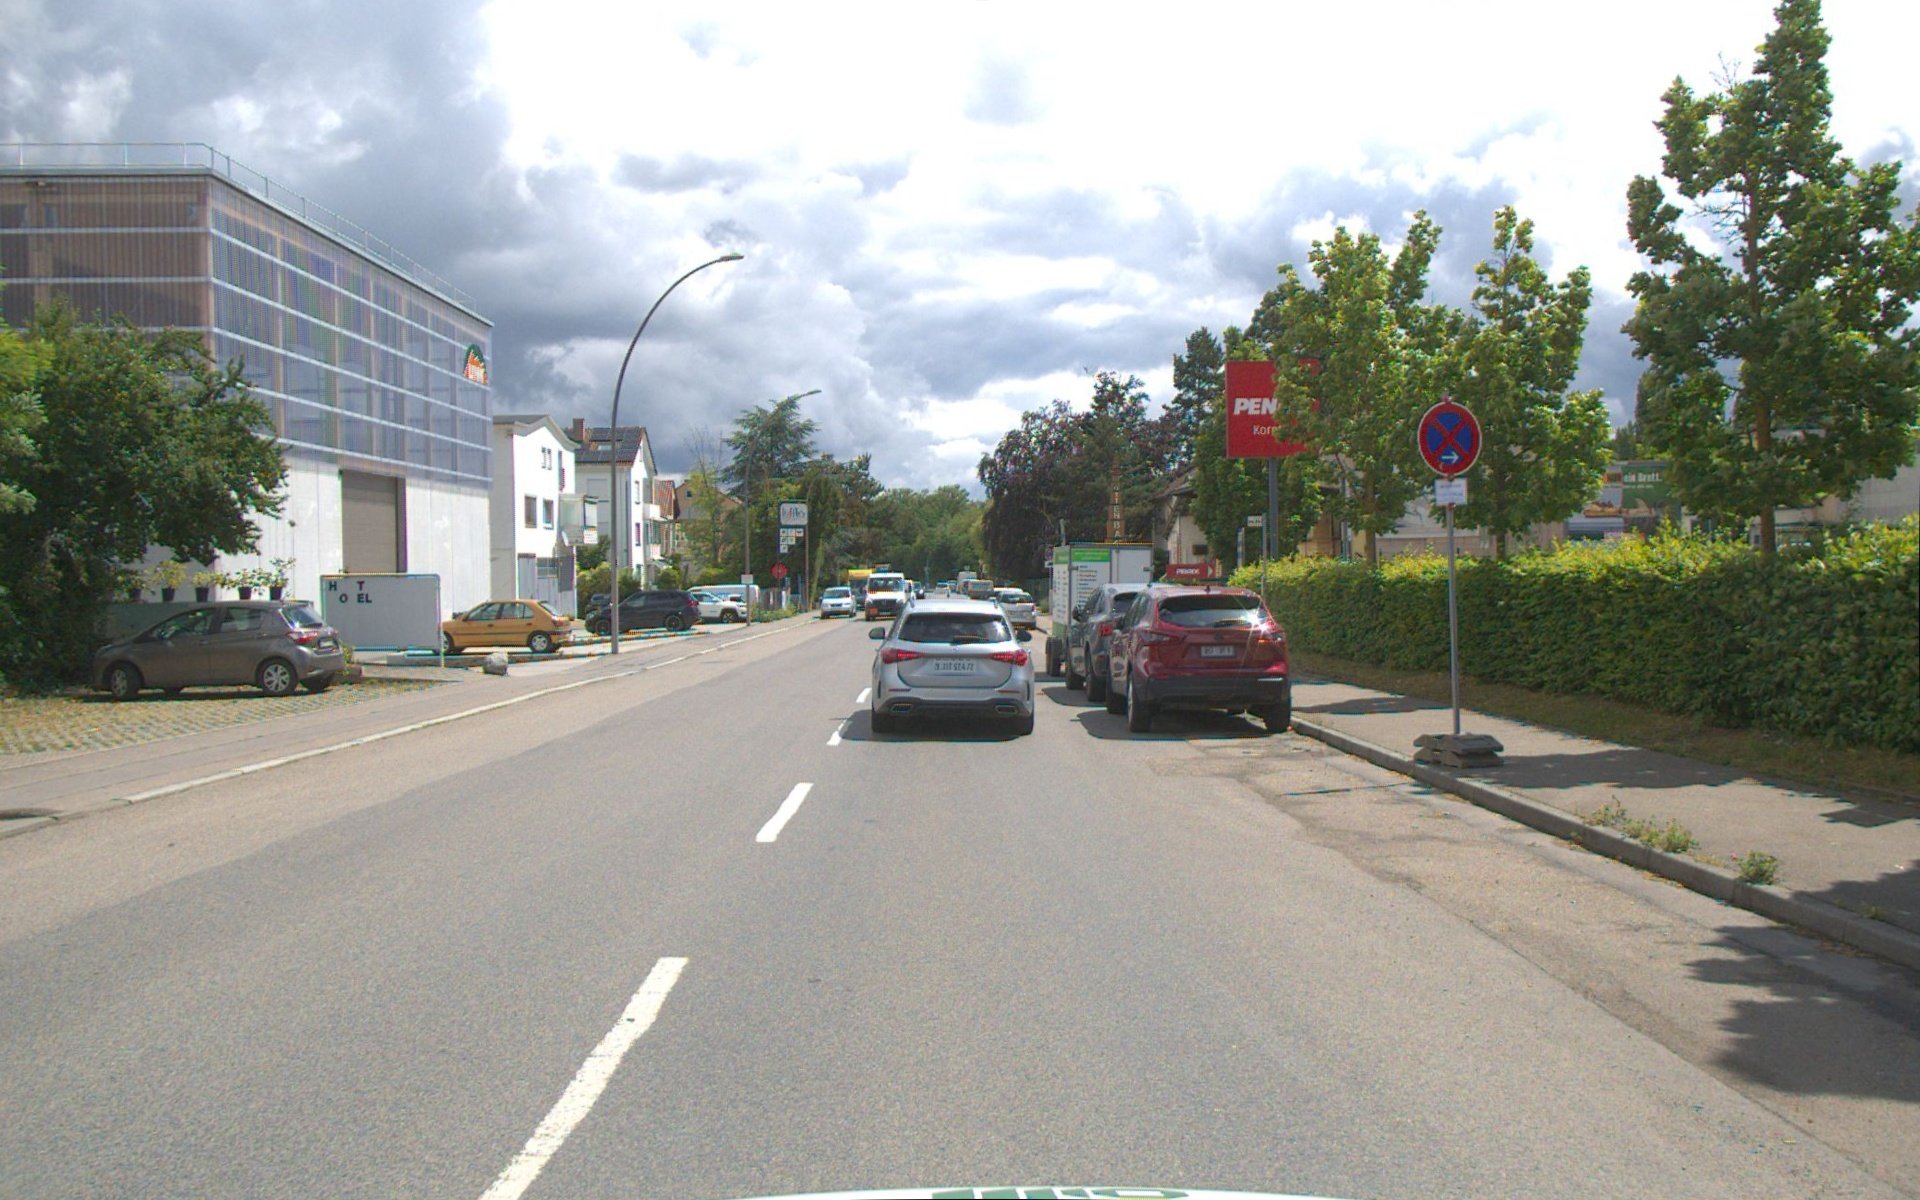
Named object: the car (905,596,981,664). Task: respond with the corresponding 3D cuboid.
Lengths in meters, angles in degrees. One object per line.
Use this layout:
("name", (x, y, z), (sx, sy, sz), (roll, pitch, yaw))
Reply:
("car", (-0.492, 0.737, 42.388), (1.721, 1.585, 3.997), (-1, 1, -4))

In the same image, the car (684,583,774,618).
("car", (-11.494, 0.043, 82.481), (4.193, 1.594, 1.990), (-1, -3, -2))

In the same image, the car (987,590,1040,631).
("car", (2.121, 0.396, 66.673), (1.756, 1.475, 4.361), (-2, 1, -3))

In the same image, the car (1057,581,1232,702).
("car", (2.648, 0.538, 24.772), (1.903, 1.598, 4.443), (-1, 1, -3))

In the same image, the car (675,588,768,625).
("car", (-11.439, 0.337, 79.565), (4.192, 1.594, 1.991), (-1, -3, -1))

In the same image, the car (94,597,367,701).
("car", (-11.869, 0.774, 27.086), (3.553, 1.559, 1.980), (-1, 1, 1))

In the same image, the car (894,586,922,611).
("car", (-4.016, -0.146, 128.961), (1.952, 1.763, 4.549), (-2, 1, 1))

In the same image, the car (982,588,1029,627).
("car", (1.954, 0.296, 72.541), (1.755, 1.579, 4.572), (-2, 1, -2))

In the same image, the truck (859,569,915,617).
("truck", (-3.572, -0.381, 81.830), (2.271, 2.216, 6.450), (-2, 1, 1))

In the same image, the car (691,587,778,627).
("car", (-11.508, 0.363, 84.769), (4.193, 1.868, 1.990), (-1, -3, -2))

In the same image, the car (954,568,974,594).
("car", (0.418, -1.857, 162.928), (1.749, 2.562, 4.314), (0, 0, -3))

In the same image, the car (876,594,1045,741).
("car", (-0.088, 0.696, 19.251), (1.749, 1.510, 4.314), (0, 0, -3))

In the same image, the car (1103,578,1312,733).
("car", (2.831, 0.561, 19.865), (1.901, 1.598, 4.446), (-1, 1, 1))

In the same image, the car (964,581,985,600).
("car", (1.321, -0.844, 151.010), (1.749, 1.745, 4.314), (0, 0, -3))

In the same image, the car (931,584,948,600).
("car", (-2.095, -0.850, 170.738), (1.720, 1.585, 3.999), (-1, 1, -2))

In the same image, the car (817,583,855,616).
("car", (-6.704, -0.055, 89.964), (1.755, 1.631, 4.363), (-2, 1, -1))

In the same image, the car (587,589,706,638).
("car", (-12.960, 0.547, 68.578), (4.536, 1.661, 2.196), (-4, 1, -4))

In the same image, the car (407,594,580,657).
("car", (-12.284, 0.662, 43.735), (4.068, 1.518, 1.824), (1, 1, -4))

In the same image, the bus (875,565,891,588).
("bus", (-11.692, -3.613, 250.041), (1.955, 3.423, 6.974), (1, 1, -6))

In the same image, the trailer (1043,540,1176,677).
("trailer", (2.712, 0.121, 30.941), (1.902, 2.334, 4.444), (-1, 0, -2))

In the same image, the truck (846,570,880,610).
("truck", (-7.229, -0.770, 123.658), (2.032, 2.863, 7.078), (-2, 1, 0))

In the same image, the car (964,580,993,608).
("car", (1.372, -0.476, 125.542), (2.100, 2.018, 5.261), (-1, 1, 0))
